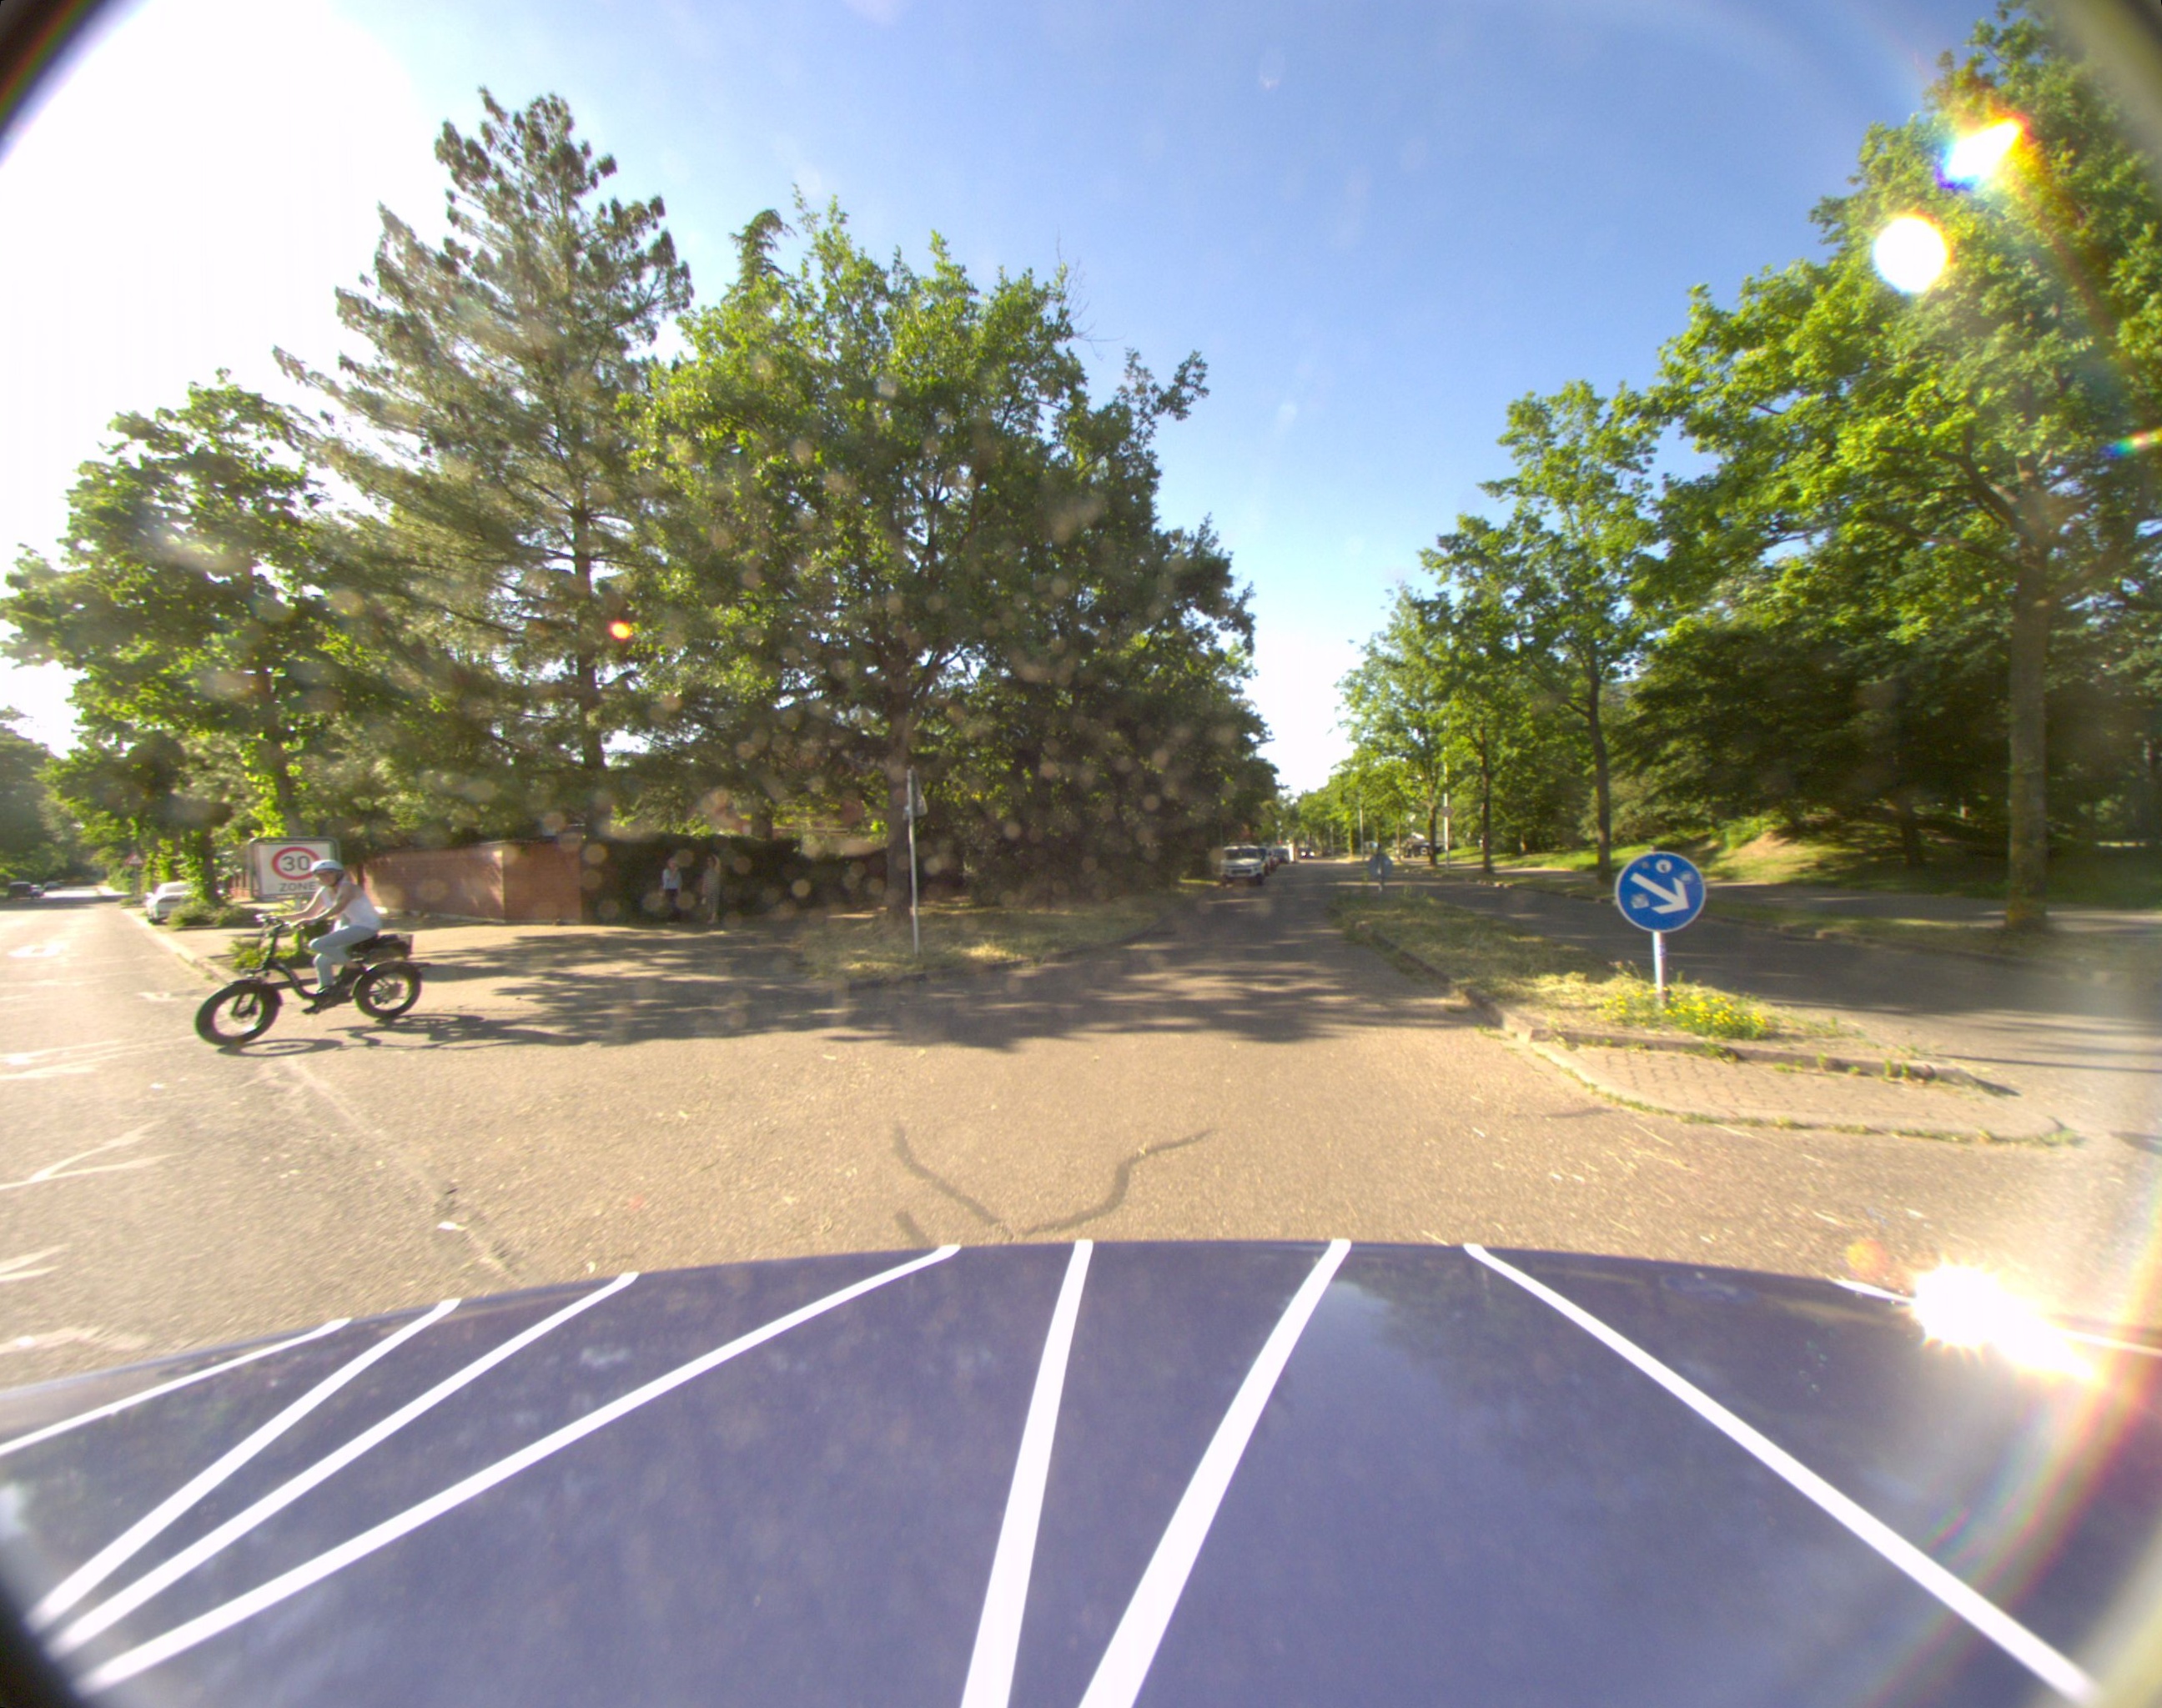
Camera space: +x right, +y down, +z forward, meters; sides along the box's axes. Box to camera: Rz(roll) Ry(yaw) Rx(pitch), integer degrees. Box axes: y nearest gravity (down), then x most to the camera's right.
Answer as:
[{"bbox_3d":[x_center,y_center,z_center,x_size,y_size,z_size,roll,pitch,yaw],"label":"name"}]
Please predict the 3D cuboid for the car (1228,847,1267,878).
[{"bbox_3d":[8.825,0.390,40.010,1.720,1.436,4.619,-3,0,15],"label":"car"}]

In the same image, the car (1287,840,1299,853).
[{"bbox_3d":[29.531,-1.060,105.976,1.420,1.644,3.914,-2,0,17],"label":"car"}]

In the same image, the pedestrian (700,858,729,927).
[{"bbox_3d":[-8.487,0.880,17.586,0.537,1.552,0.397,1,2,41],"label":"pedestrian"}]

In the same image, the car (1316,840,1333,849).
[{"bbox_3d":[38.774,-1.455,121.028,1.997,1.359,4.002,-1,1,9],"label":"car"}]

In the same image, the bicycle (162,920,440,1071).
[{"bbox_3d":[-7.639,1.318,7.591,0.457,1.138,1.900,-1,0,19],"label":"bicycle"}]

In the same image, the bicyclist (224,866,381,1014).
[{"bbox_3d":[-7.666,0.810,7.512,0.637,1.340,0.839,-1,1,19],"label":"bicyclist"}]

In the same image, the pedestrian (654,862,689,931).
[{"bbox_3d":[-9.231,0.942,17.139,0.395,1.512,0.539,-1,2,14],"label":"pedestrian"}]

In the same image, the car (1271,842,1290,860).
[{"bbox_3d":[19.485,-0.308,74.202,1.498,1.644,4.096,-2,0,17],"label":"car"}]

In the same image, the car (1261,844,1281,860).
[{"bbox_3d":[17.073,-0.181,68.108,1.498,1.351,3.471,-2,0,17],"label":"car"}]

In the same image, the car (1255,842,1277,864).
[{"bbox_3d":[14.359,-0.100,58.788,1.498,1.629,3.757,-2,0,15],"label":"car"}]

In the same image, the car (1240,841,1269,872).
[{"bbox_3d":[10.363,0.116,45.272,1.498,1.744,3.806,-2,0,15],"label":"car"}]

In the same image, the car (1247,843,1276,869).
[{"bbox_3d":[12.502,0.095,52.412,1.770,1.629,3.757,-2,0,15],"label":"car"}]

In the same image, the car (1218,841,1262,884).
[{"bbox_3d":[7.159,0.328,34.117,1.752,1.739,4.638,-2,1,13],"label":"car"}]

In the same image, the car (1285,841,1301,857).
[{"bbox_3d":[23.135,-0.557,82.803,1.448,1.644,3.724,-2,0,17],"label":"car"}]

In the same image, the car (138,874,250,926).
[{"bbox_3d":[-31.645,1.577,27.080,3.989,1.649,2.004,-1,1,33],"label":"car"}]

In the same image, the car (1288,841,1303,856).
[{"bbox_3d":[24.525,-0.665,86.827,1.448,1.644,3.724,-2,0,17],"label":"car"}]
